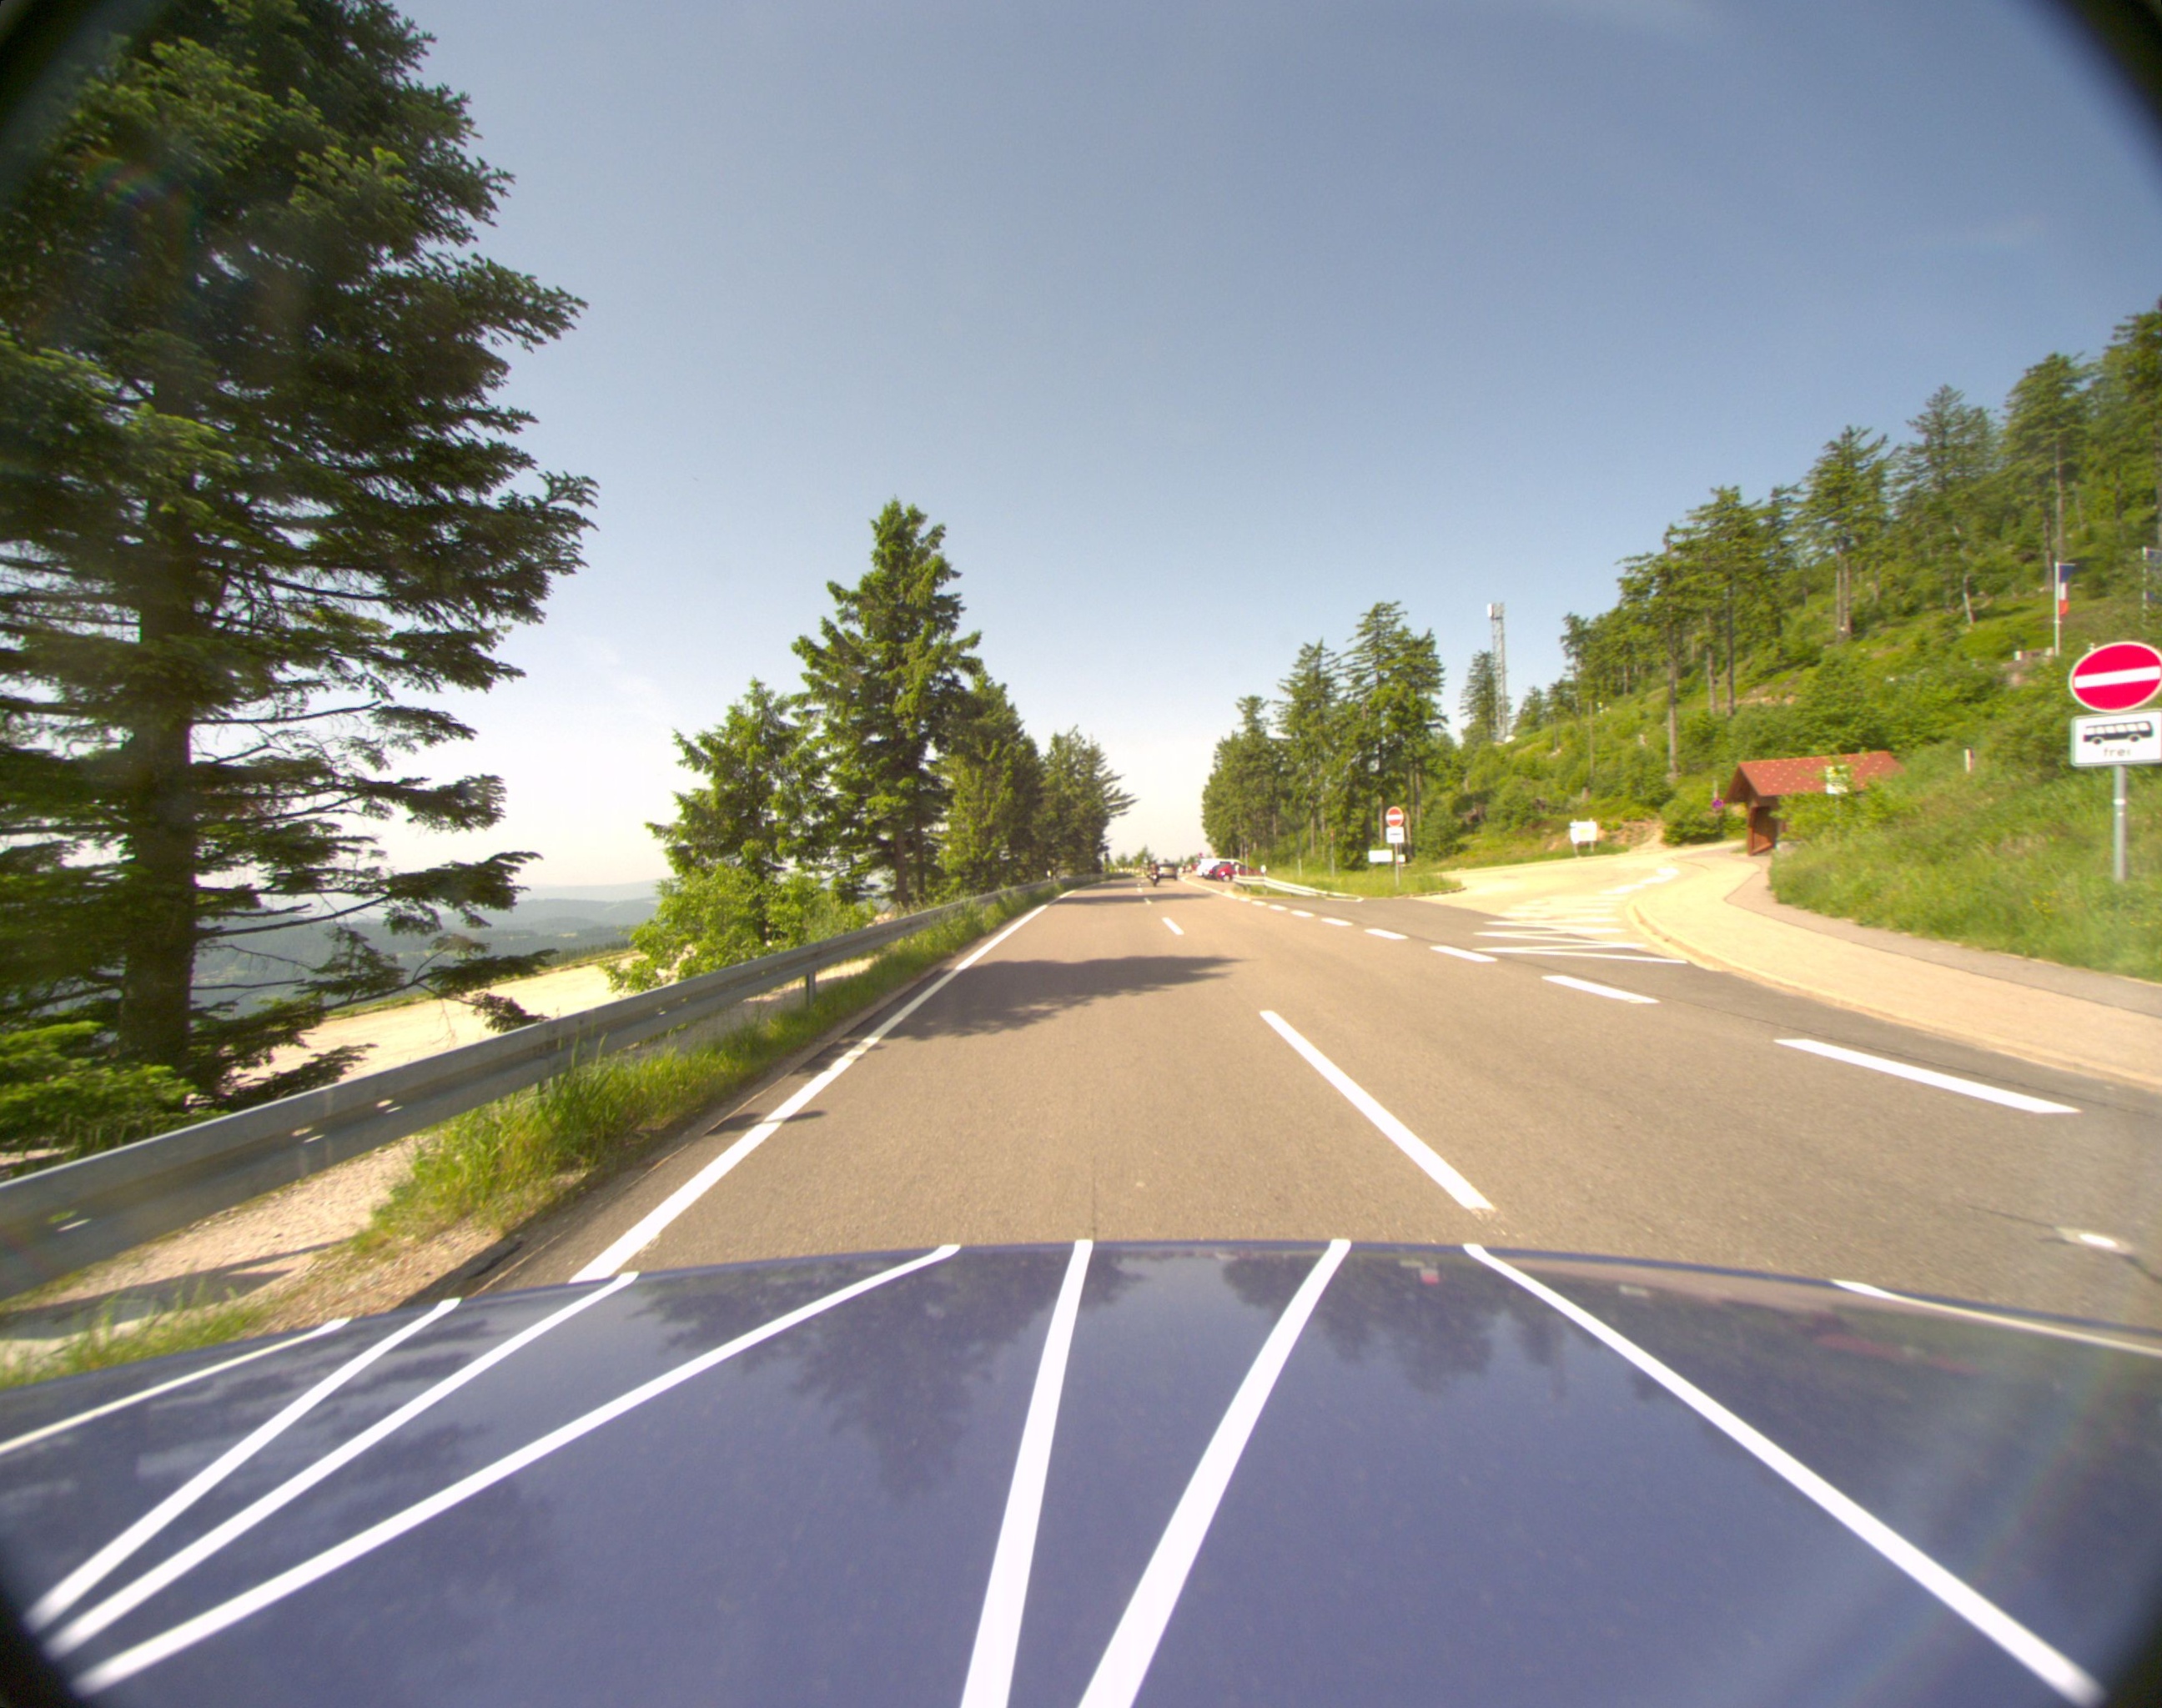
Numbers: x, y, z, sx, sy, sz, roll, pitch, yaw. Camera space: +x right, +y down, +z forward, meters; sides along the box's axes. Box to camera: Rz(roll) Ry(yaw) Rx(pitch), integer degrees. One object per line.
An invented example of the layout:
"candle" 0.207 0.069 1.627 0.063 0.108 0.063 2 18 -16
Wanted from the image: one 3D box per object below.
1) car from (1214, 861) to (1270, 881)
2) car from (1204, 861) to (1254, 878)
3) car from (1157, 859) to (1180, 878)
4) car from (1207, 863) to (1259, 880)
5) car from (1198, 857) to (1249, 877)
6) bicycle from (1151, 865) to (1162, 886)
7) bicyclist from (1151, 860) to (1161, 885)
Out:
"car" 12.758 1.363 60.376 4.158 1.501 1.933 0 0 5
"car" 13.696 1.460 70.570 4.242 1.516 1.932 0 0 1
"car" 7.797 1.294 68.057 1.998 1.586 4.002 -1 0 6
"car" 12.582 1.414 63.034 3.928 1.365 1.932 0 0 1
"car" 13.898 1.262 74.292 4.729 1.871 1.932 0 0 1
"bicycle" 4.629 1.284 46.691 0.546 1.220 1.859 -1 0 4
"bicyclist" 4.607 1.125 46.863 0.546 1.519 0.679 -1 1 3
